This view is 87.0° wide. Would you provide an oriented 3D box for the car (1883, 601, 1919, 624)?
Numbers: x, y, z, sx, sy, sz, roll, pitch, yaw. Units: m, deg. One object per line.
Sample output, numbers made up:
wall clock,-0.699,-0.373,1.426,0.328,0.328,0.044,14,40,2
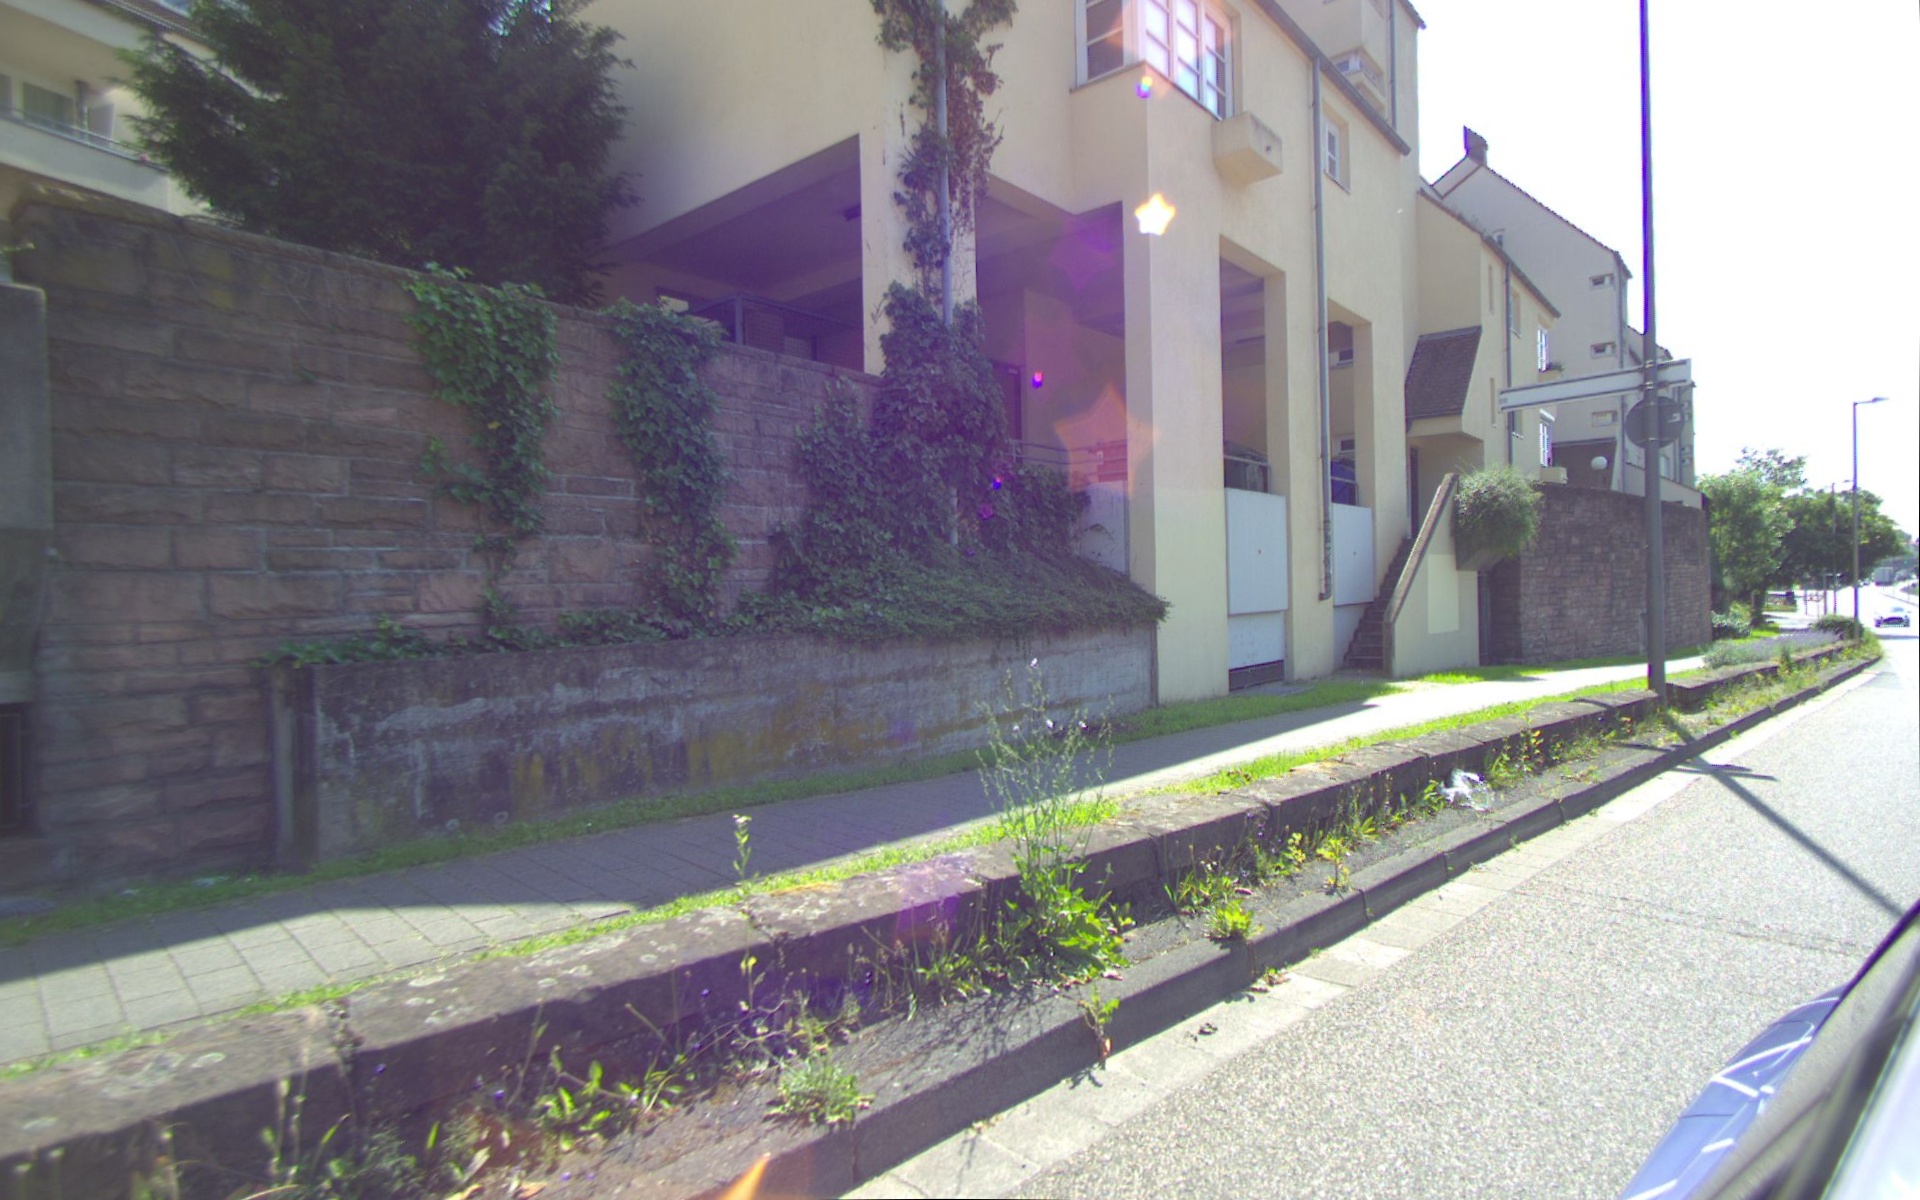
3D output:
car,64.670,0.843,69.380,1.993,1.460,3.938,1,0,42
